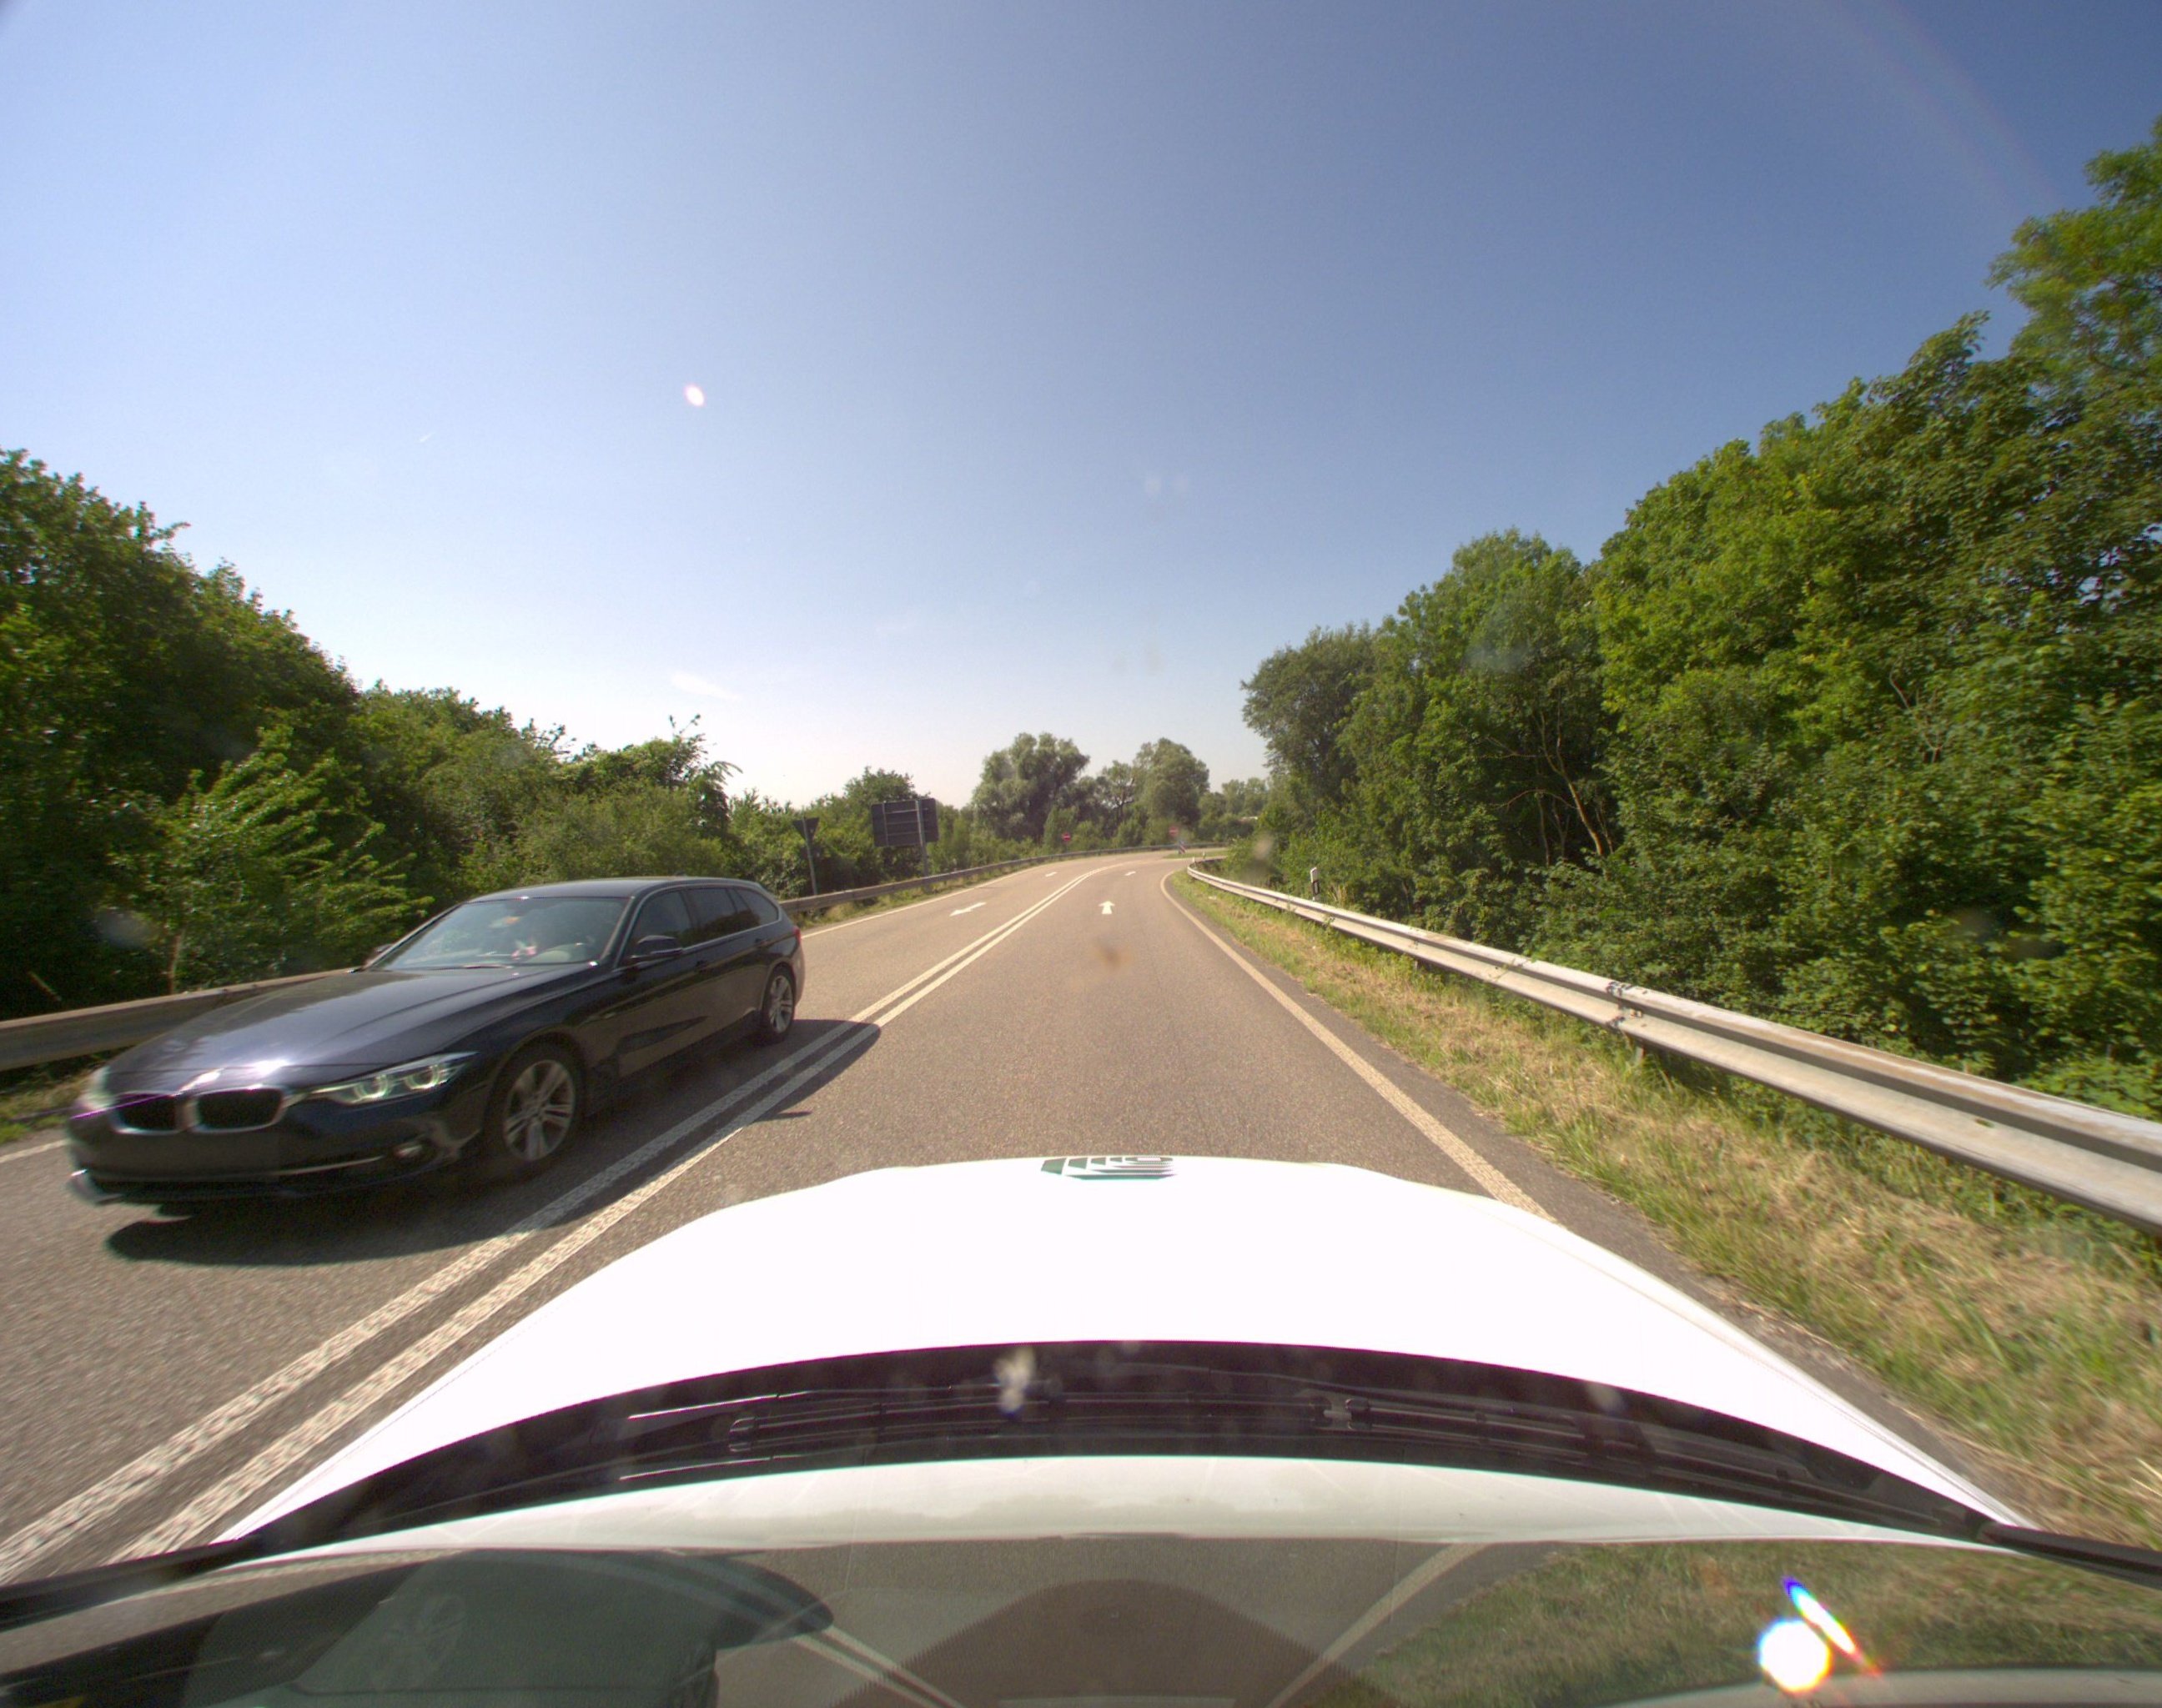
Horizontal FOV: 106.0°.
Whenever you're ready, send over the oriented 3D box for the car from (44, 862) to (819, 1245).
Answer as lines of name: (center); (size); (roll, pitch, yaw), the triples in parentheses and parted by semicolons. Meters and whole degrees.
car: (-3.371, 0.848, 5.464); (1.601, 1.473, 4.223); (-2, 0, 3)
